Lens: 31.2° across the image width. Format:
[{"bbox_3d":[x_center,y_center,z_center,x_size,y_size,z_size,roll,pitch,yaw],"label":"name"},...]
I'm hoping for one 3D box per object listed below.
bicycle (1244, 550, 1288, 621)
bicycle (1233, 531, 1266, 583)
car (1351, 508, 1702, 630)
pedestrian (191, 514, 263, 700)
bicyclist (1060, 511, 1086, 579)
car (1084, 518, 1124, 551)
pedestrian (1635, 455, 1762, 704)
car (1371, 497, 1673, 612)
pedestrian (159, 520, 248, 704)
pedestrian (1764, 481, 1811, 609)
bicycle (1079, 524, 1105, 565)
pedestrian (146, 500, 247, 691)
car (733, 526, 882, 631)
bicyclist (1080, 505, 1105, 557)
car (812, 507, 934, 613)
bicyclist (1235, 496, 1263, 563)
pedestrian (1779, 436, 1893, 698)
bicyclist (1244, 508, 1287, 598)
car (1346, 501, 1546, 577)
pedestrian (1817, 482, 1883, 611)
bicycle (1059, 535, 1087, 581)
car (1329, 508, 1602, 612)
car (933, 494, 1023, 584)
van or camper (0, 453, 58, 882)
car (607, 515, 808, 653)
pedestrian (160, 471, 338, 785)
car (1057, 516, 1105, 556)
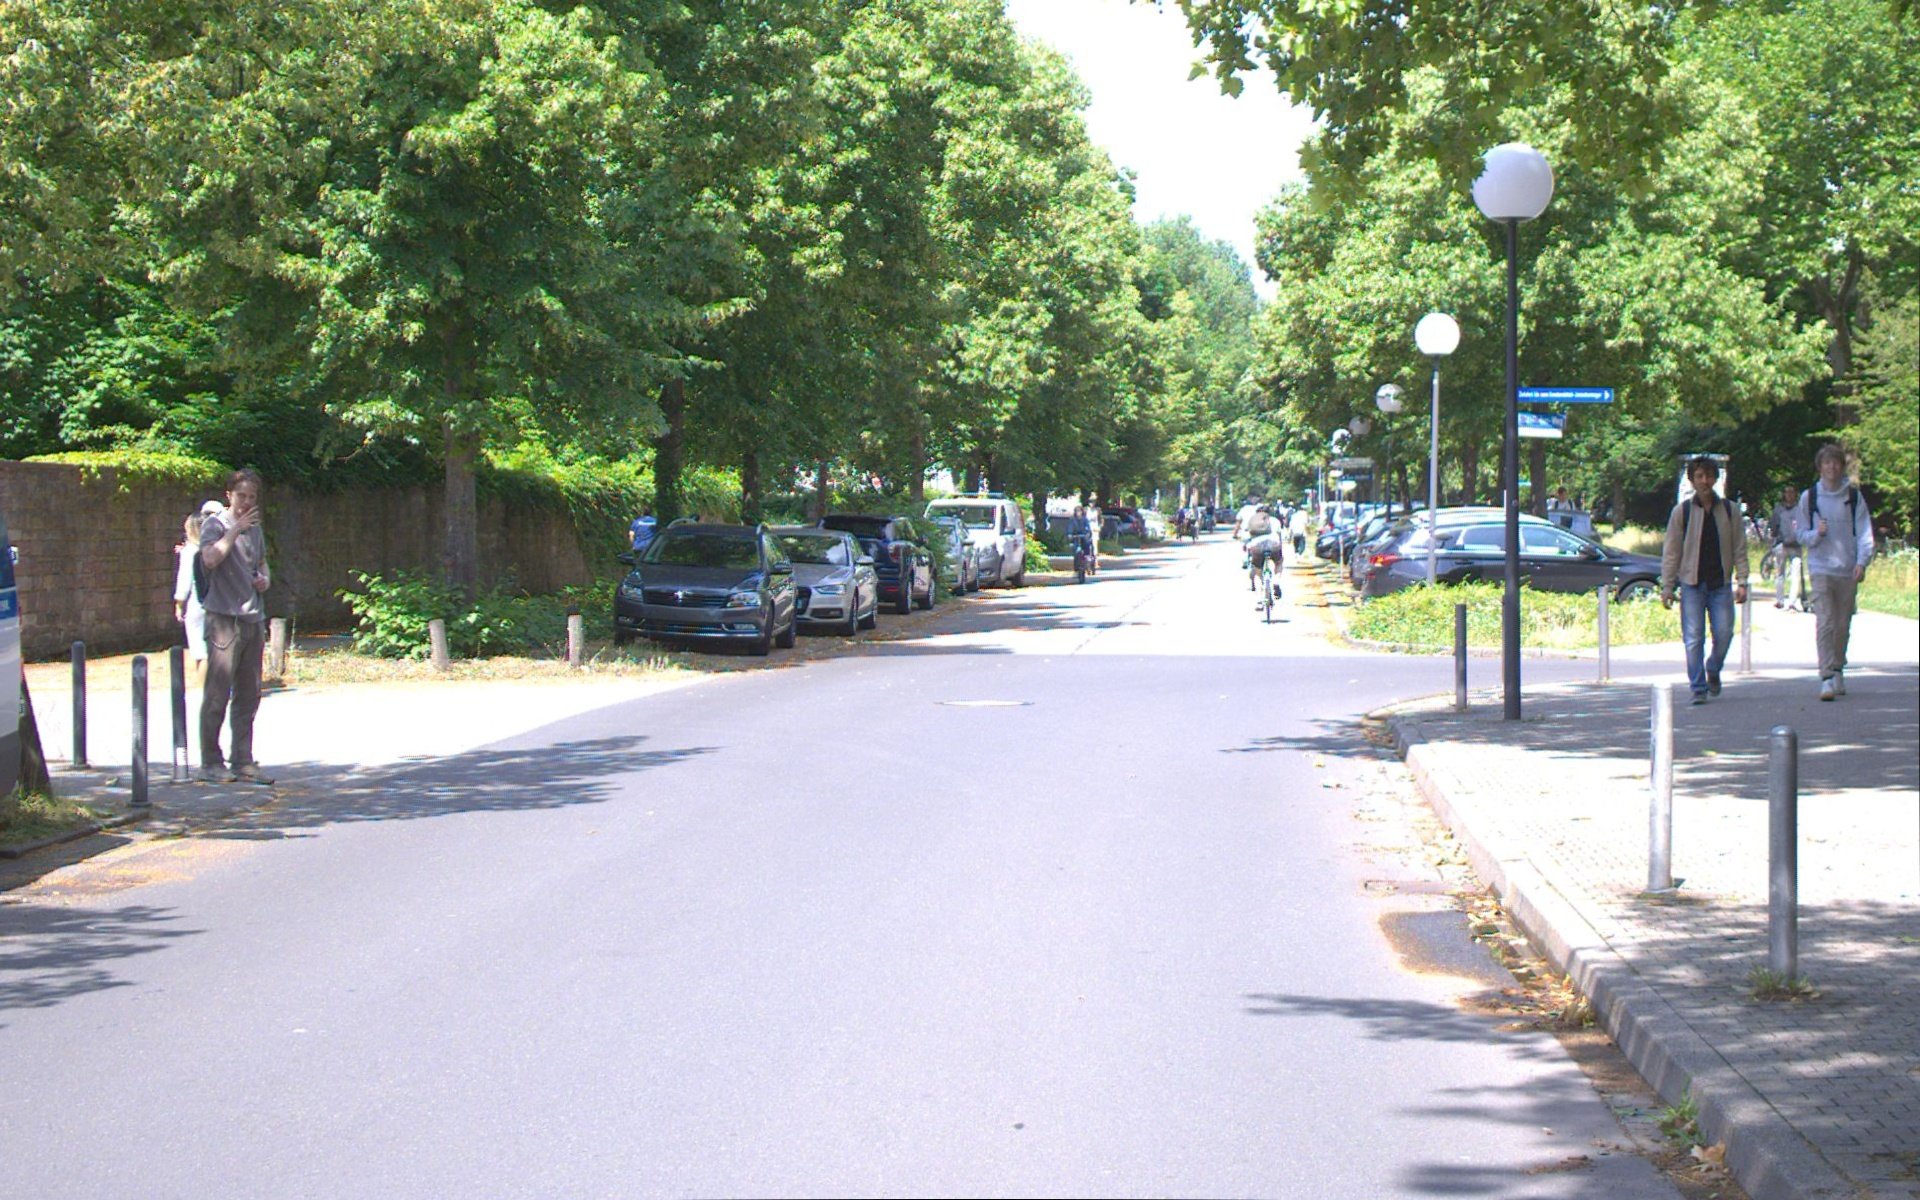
[{"bbox_3d":[4.418,-0.219,49.713,0.614,0.997,1.423,0,1,4],"label":"bicycle"},{"bbox_3d":[5.684,-0.846,67.472,0.614,0.997,1.423,0,1,4],"label":"bicycle"},{"bbox_3d":[7.516,-0.421,45.934,4.486,1.520,1.810,-1,1,5],"label":"car"},{"bbox_3d":[-6.321,0.052,29.646,0.494,1.580,0.494,-1,1,-26],"label":"pedestrian"},{"bbox_3d":[2.506,-1.226,76.214,0.563,1.493,0.827,0,1,4],"label":"bicyclist"},{"bbox_3d":[5.989,-2.734,142.633,1.616,1.360,4.000,0,1,3],"label":"car"},{"bbox_3d":[5.338,-0.154,24.892,0.821,1.749,0.840,-2,1,10],"label":"pedestrian"},{"bbox_3d":[8.259,-0.677,50.787,4.257,1.582,1.810,-1,1,5],"label":"car"},{"bbox_3d":[-6.361,0.091,28.916,0.584,1.521,0.494,-1,1,-34],"label":"pedestrian"},{"bbox_3d":[11.413,-0.756,47.404,0.601,1.749,0.628,0,1,11],"label":"pedestrian"},{"bbox_3d":[3.319,-1.396,86.149,0.614,0.997,1.423,0,1,4],"label":"bicycle"},{"bbox_3d":[-6.695,-0.050,30.165,0.603,1.657,0.627,1,2,45],"label":"pedestrian"},{"bbox_3d":[-2.069,-0.330,47.584,1.616,1.383,4.000,0,1,4],"label":"car"},{"bbox_3d":[3.315,-1.730,86.116,0.608,1.291,0.611,0,1,4],"label":"bicyclist"},{"bbox_3d":[-1.393,-0.678,56.181,1.616,1.673,4.000,0,1,4],"label":"car"},{"bbox_3d":[5.671,-1.384,67.456,0.522,1.291,0.611,0,1,4],"label":"bicyclist"},{"bbox_3d":[6.327,-0.243,24.859,0.671,1.866,0.792,0,1,5],"label":"pedestrian"},{"bbox_3d":[4.421,-0.681,49.708,0.609,1.291,0.611,0,1,4],"label":"bicyclist"},{"bbox_3d":[10.687,-1.357,75.828,4.257,1.582,1.919,-1,1,5],"label":"car"},{"bbox_3d":[12.168,-0.729,47.011,0.821,1.749,0.628,0,1,10],"label":"pedestrian"},{"bbox_3d":[2.516,-0.931,76.292,0.577,0.997,1.423,0,1,4],"label":"bicycle"},{"bbox_3d":[8.145,-0.661,55.653,4.257,1.582,1.810,-1,1,5],"label":"car"},{"bbox_3d":[0.409,-1.285,71.444,1.616,1.809,4.000,0,1,4],"label":"car"},{"bbox_3d":[-5.363,0.335,13.461,1.954,1.916,5.420,1,1,3],"label":"van or camper"},{"bbox_3d":[-2.879,-0.229,39.988,1.760,1.516,4.111,0,1,4],"label":"car"},{"bbox_3d":[-4.284,0.156,20.750,0.725,1.850,0.790,0,1,22],"label":"pedestrian"},{"bbox_3d":[4.216,-2.231,119.736,1.616,1.360,4.000,0,1,3],"label":"car"}]
